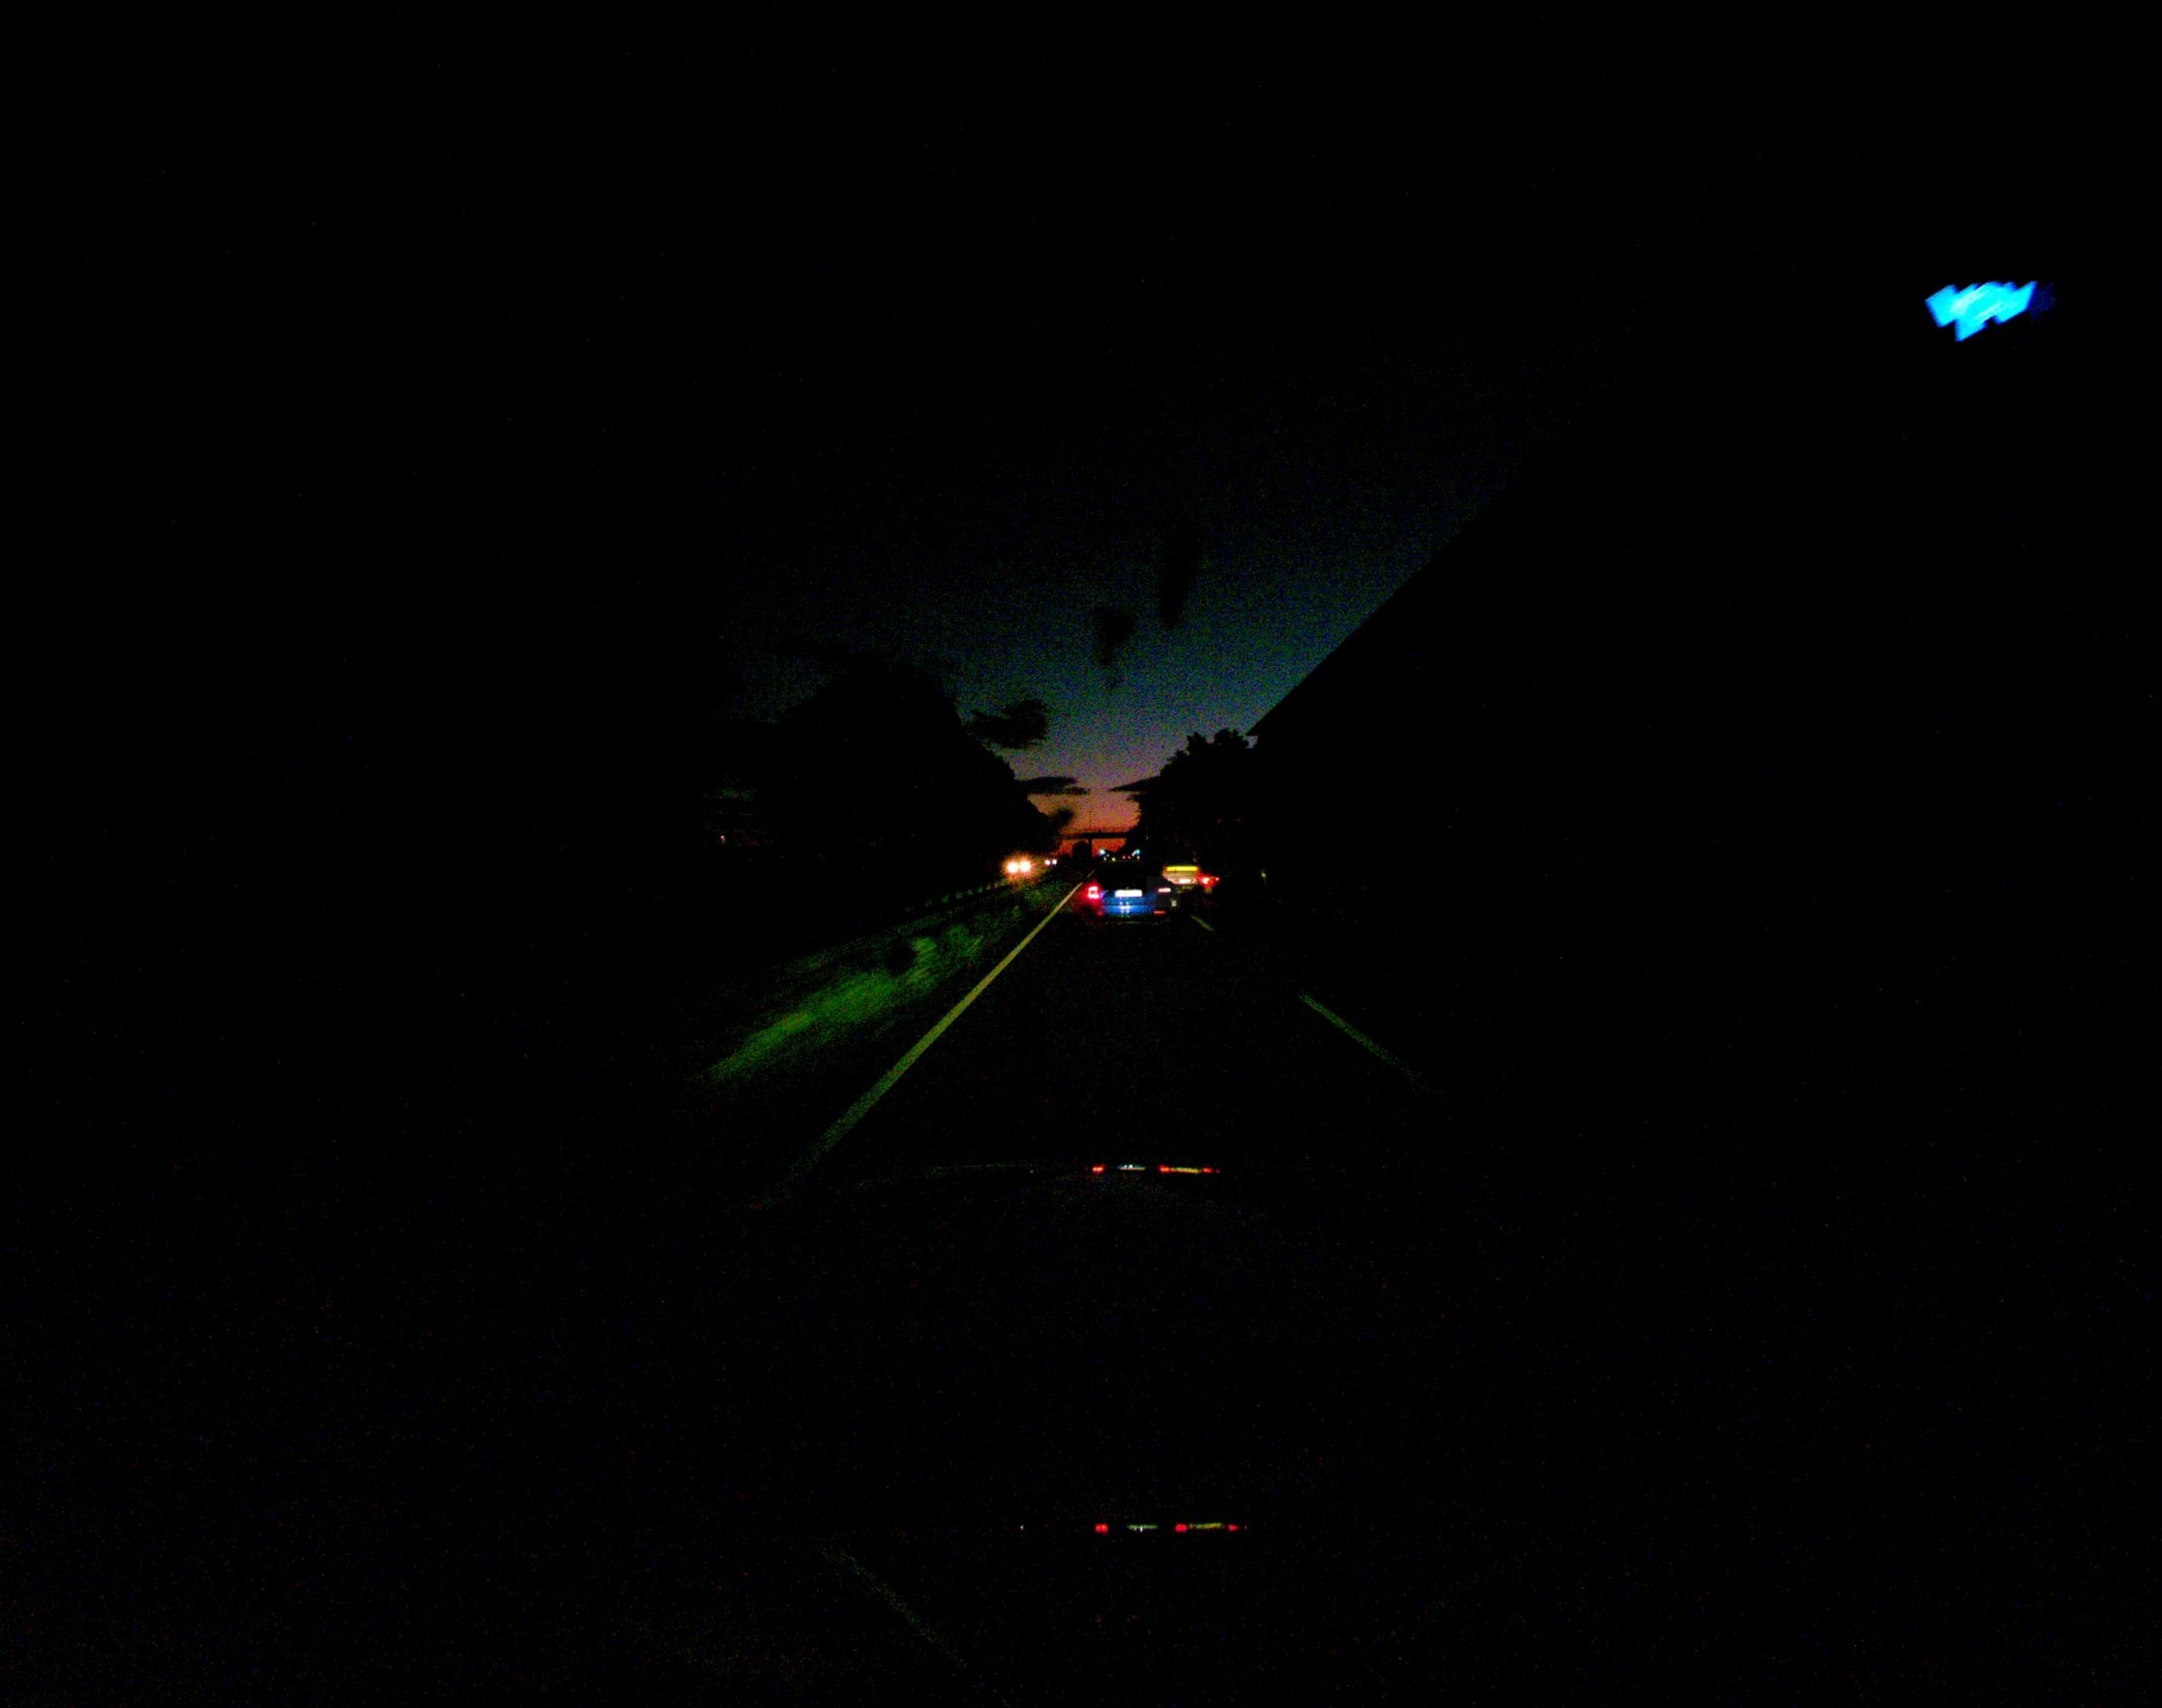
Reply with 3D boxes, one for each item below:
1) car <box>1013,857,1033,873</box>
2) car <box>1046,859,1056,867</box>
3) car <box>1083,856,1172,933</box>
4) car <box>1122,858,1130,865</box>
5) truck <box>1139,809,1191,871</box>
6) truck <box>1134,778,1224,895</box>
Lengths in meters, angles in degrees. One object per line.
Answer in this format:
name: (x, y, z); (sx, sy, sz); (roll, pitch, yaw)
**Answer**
car: (-6.172, 1.118, 86.388); (1.676, 1.587, 4.168); (-1, 0, 2)
car: (-5.724, 1.734, 153.645); (1.611, 1.507, 3.870); (-1, 0, 2)
car: (0.946, 0.793, 17.491); (1.689, 1.452, 3.915); (-1, 0, 2)
car: (10.120, 1.629, 184.200); (1.689, 1.452, 3.915); (-1, 0, 2)
truck: (6.055, -0.875, 60.431); (2.872, 4.106, 12.688); (-1, 0, 2)
truck: (3.905, -0.575, 35.500); (2.677, 4.106, 13.146); (-1, 0, 2)
